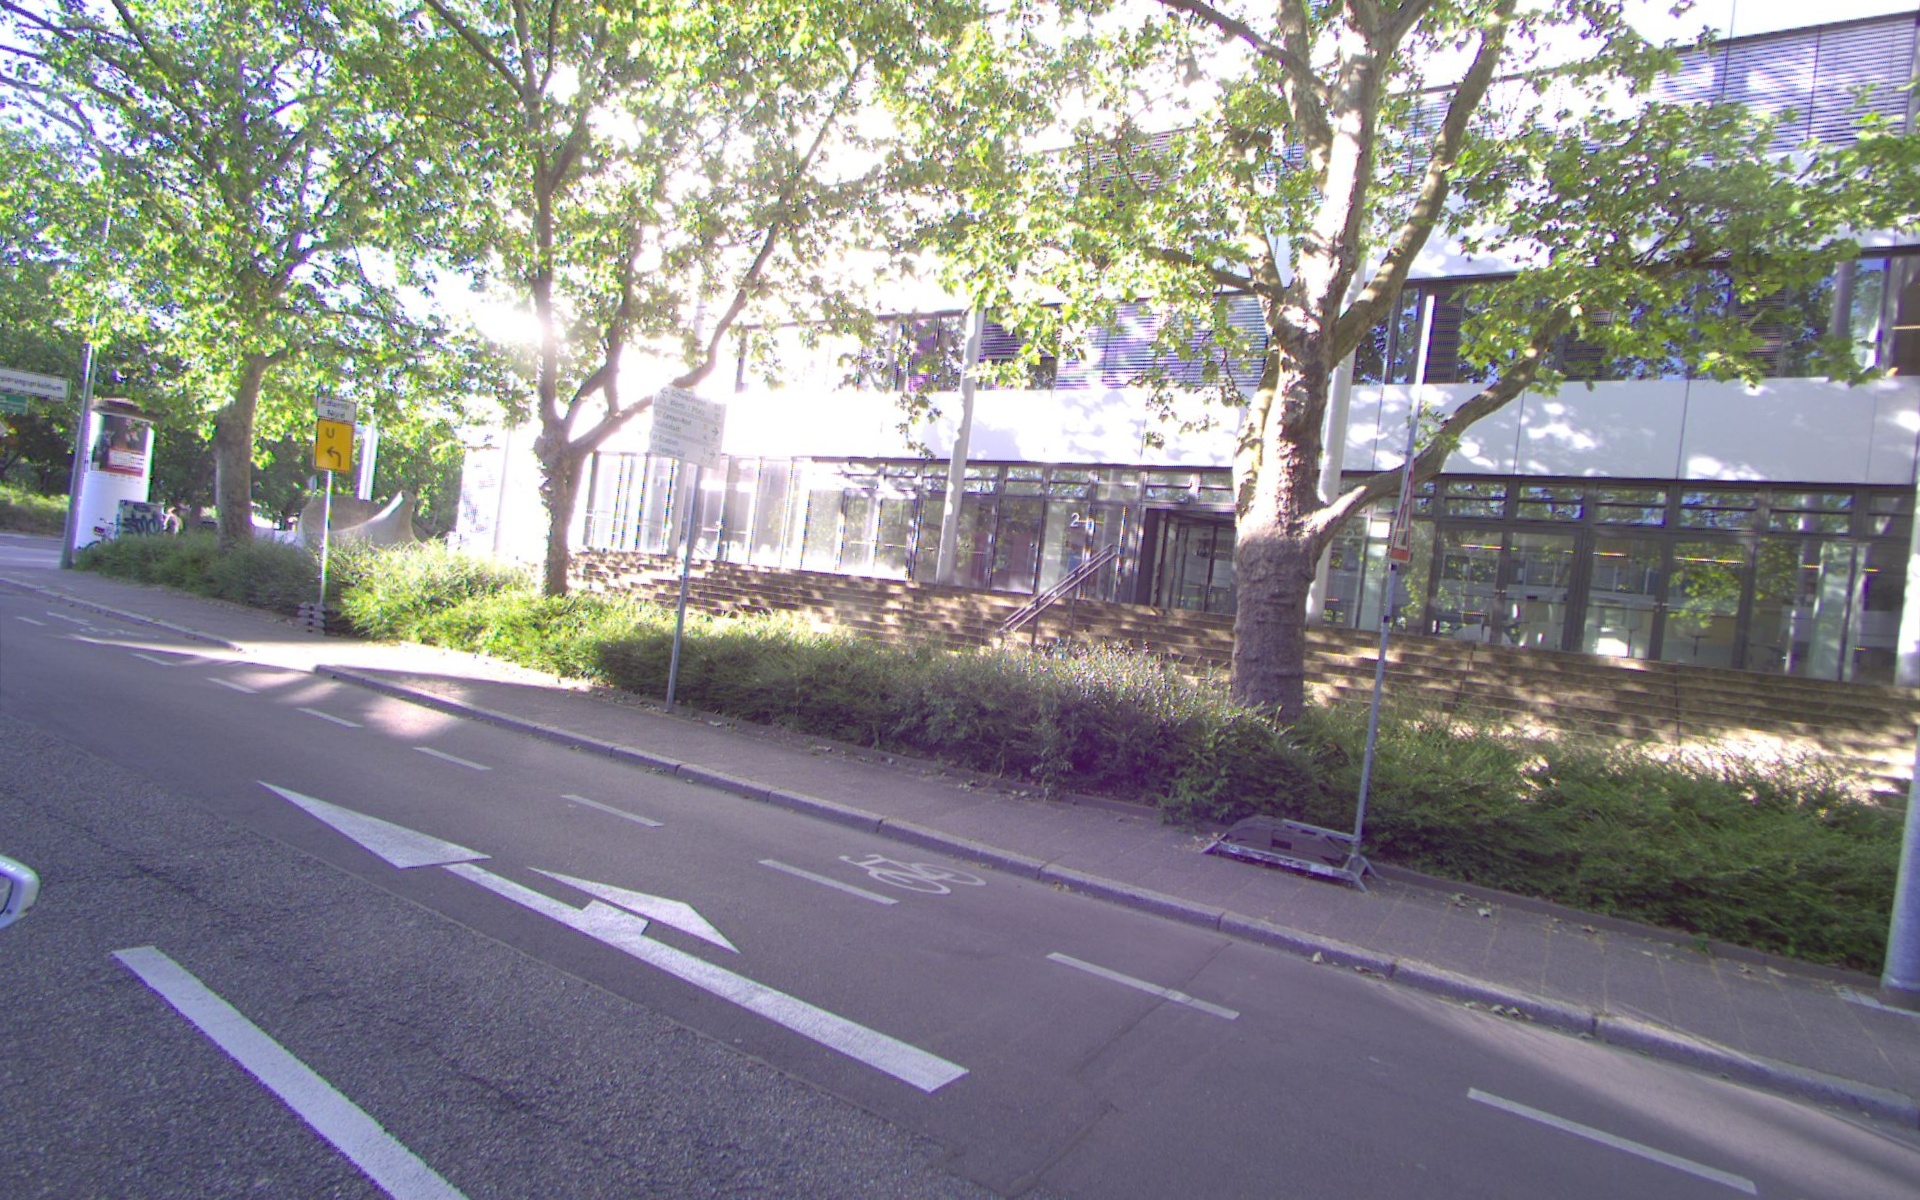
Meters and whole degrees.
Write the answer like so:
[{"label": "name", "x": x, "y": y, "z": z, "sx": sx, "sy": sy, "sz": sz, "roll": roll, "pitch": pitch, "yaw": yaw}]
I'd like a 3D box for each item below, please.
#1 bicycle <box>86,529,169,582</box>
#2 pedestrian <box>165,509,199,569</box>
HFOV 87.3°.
[{"label": "bicycle", "x": -19.223, "y": -1.012, "z": 23.244, "sx": 0.357, "sy": 1.036, "sz": 1.354, "roll": 7, "pitch": -1, "yaw": 33}, {"label": "pedestrian", "x": -25.723, "y": -2.010, "z": 33.260, "sx": 0.584, "sy": 1.871, "sz": 0.552, "roll": 7, "pitch": 0, "yaw": 33}]
